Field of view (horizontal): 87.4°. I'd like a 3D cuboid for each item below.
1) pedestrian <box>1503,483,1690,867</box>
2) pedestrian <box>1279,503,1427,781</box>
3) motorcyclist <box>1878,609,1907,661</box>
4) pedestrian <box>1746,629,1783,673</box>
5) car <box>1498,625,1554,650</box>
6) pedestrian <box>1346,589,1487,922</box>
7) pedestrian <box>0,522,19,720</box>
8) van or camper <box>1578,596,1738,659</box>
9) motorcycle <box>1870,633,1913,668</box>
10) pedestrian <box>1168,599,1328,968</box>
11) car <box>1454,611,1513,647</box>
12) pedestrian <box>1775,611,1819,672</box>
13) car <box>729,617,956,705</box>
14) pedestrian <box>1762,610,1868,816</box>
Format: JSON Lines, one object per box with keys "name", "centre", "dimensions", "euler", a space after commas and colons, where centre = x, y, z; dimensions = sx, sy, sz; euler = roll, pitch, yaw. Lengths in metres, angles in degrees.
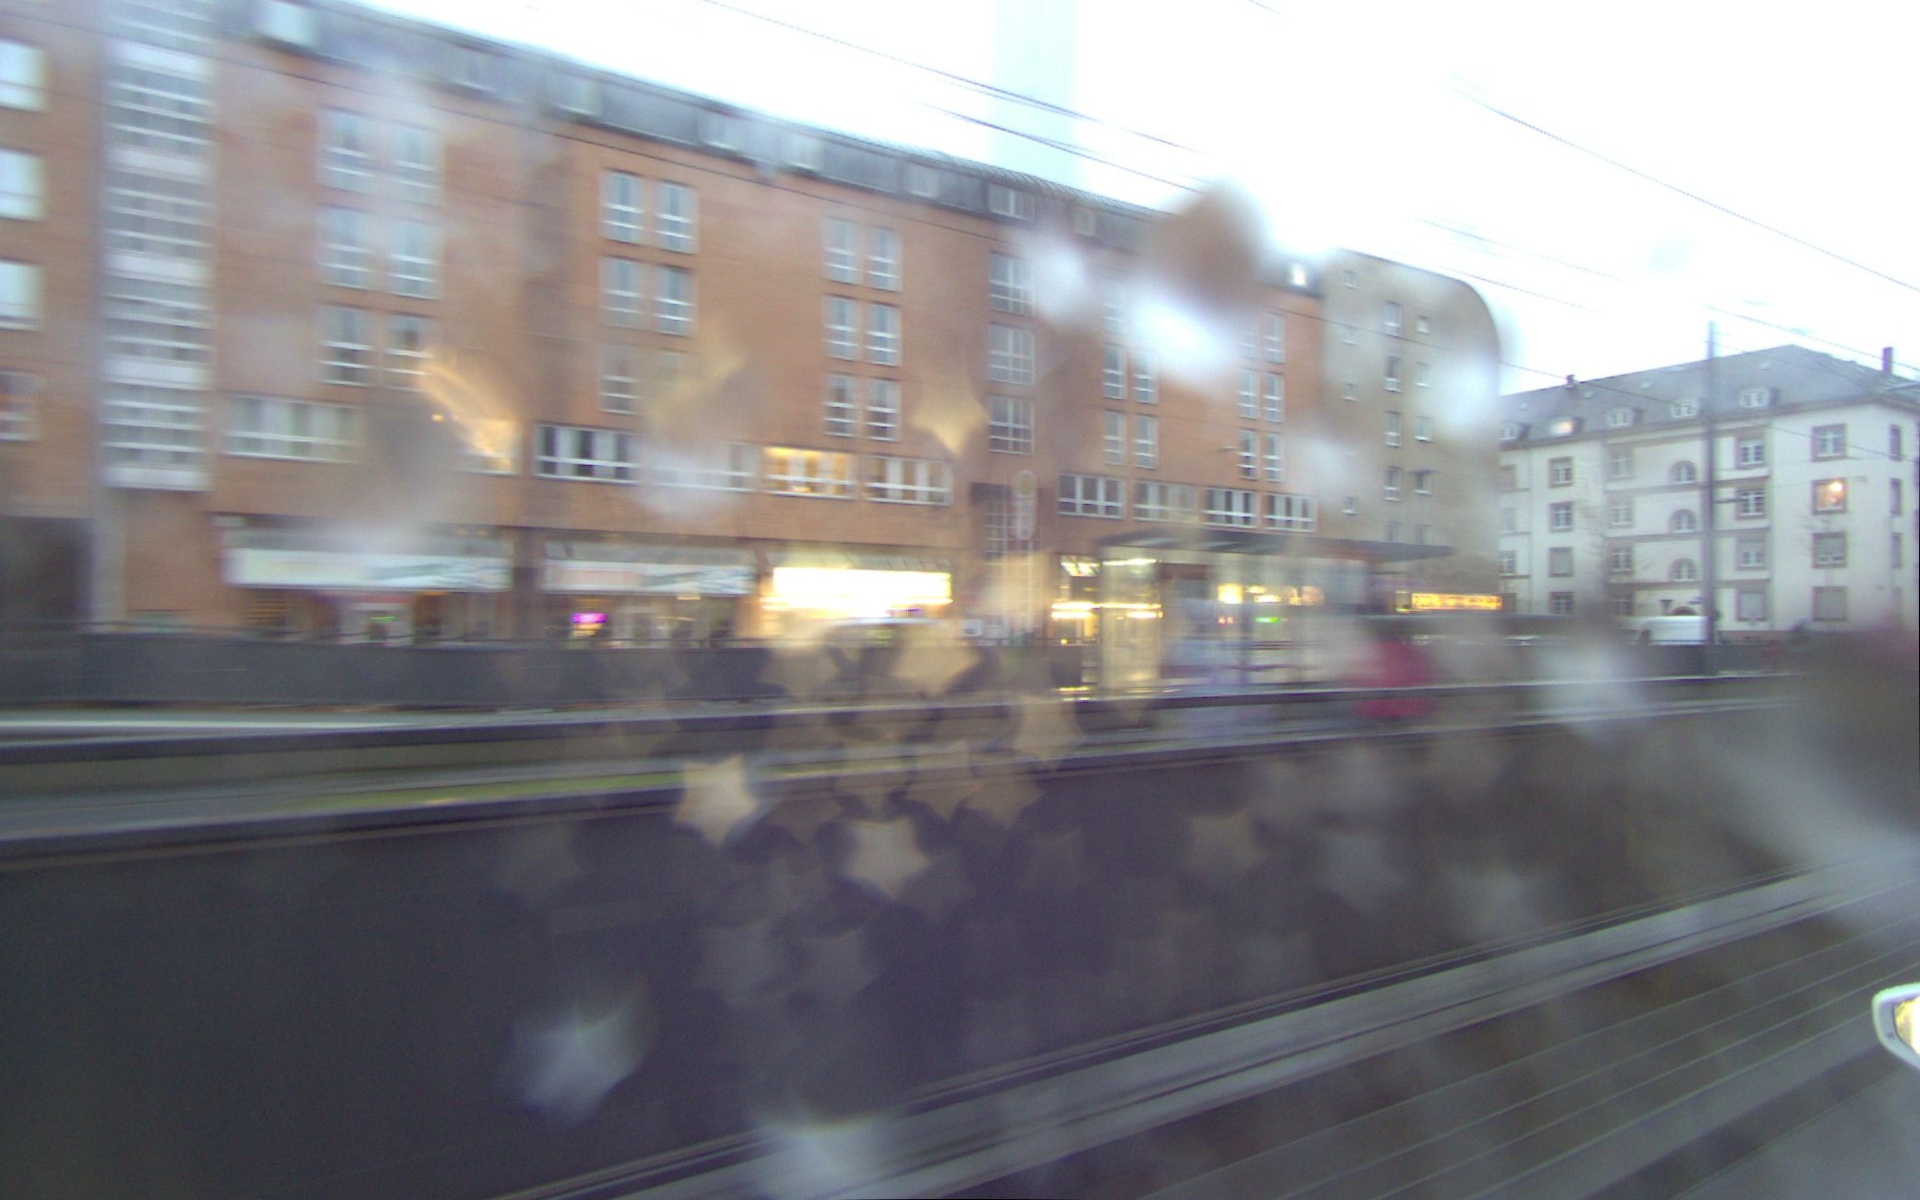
{"name": "pedestrian", "centre": [2.906, 0.323, 4.597], "dimensions": [0.557, 1.611, 0.537], "euler": [1, -1, -32]}
{"name": "pedestrian", "centre": [2.441, 0.256, 6.252], "dimensions": [0.615, 1.611, 0.615], "euler": [1, -1, -32]}
{"name": "motorcyclist", "centre": [27.766, 1.030, 29.906], "dimensions": [0.551, 1.516, 0.496], "euler": [1, 0, -34]}
{"name": "pedestrian", "centre": [21.437, 1.347, 26.786], "dimensions": [0.597, 1.117, 0.591], "euler": [1, 0, 21]}
{"name": "car", "centre": [33.047, 2.183, 58.615], "dimensions": [4.111, 1.449, 1.587], "euler": [1, -2, -41]}
{"name": "pedestrian", "centre": [2.495, 0.806, 5.496], "dimensions": [0.557, 1.701, 0.478], "euler": [1, -1, -32]}
{"name": "pedestrian", "centre": [-9.705, 0.206, 9.655], "dimensions": [0.786, 1.911, 0.875], "euler": [1, -1, -34]}
{"name": "van or camper", "centre": [31.880, 1.241, 45.861], "dimensions": [6.654, 2.718, 2.768], "euler": [1, 0, -22]}
{"name": "motorcycle", "centre": [27.751, 1.488, 29.916], "dimensions": [1.787, 1.021, 0.509], "euler": [1, 0, -33]}
{"name": "pedestrian", "centre": [1.357, 0.808, 4.741], "dimensions": [0.557, 1.611, 0.478], "euler": [1, -1, -32]}
{"name": "car", "centre": [31.353, 1.751, 60.090], "dimensions": [4.111, 2.061, 1.728], "euler": [1, -2, -41]}
{"name": "pedestrian", "centre": [21.891, 1.067, 26.278], "dimensions": [0.624, 1.544, 0.756], "euler": [1, 0, 19]}
{"name": "car", "centre": [-2.038, 1.018, 17.529], "dimensions": [3.504, 1.372, 1.811], "euler": [2, -1, -30]}
{"name": "pedestrian", "centre": [7.450, 0.949, 8.753], "dimensions": [0.636, 1.714, 0.537], "euler": [1, -1, -32]}
